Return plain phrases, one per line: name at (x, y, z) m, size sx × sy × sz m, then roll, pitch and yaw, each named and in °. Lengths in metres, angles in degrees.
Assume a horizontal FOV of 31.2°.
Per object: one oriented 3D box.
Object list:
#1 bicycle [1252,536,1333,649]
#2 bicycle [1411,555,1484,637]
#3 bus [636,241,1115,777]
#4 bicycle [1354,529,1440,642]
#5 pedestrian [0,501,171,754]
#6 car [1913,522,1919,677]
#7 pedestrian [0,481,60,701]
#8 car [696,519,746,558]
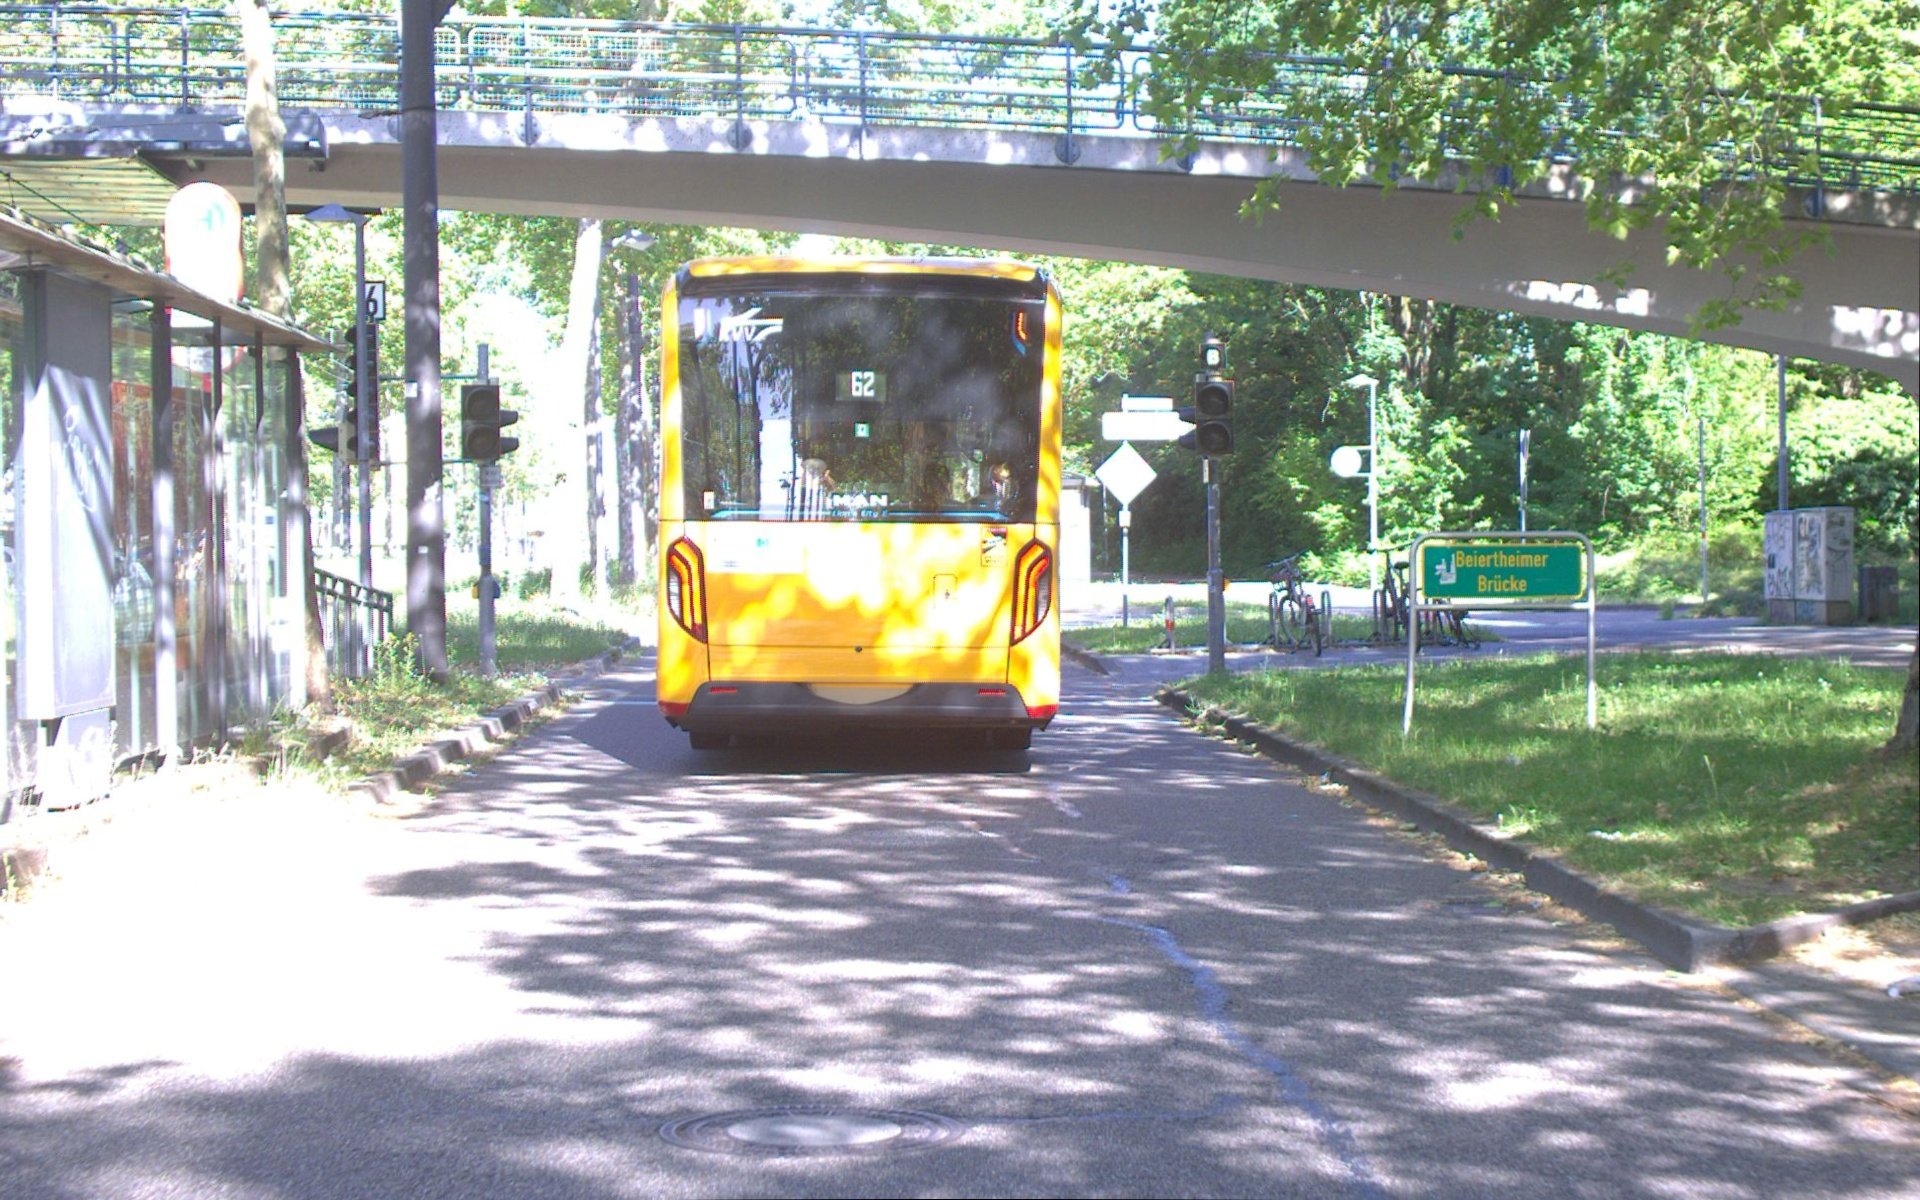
bicycle at (3.735, -0.098, 38.671) m, size 0.590 × 1.178 × 1.800 m, roll -4°, pitch 2°, yaw -2°
bicycle at (5.496, -0.056, 38.837) m, size 0.505 × 0.849 × 1.474 m, roll -4°, pitch 2°, yaw -2°
bus at (-0.790, -0.693, 27.120) m, size 2.899 × 3.255 × 12.220 m, roll 0°, pitch 1°, yaw -3°
bicycle at (4.905, -0.178, 38.646) m, size 0.590 × 1.178 × 1.800 m, roll -4°, pitch 2°, yaw -2°
pedestrian at (-4.508, 0.123, 17.333) m, size 0.855 × 1.238 × 0.850 m, roll 1°, pitch 1°, yaw 0°
car at (5.480, 0.333, 13.134) m, size 1.799 × 1.456 × 3.990 m, roll -2°, pitch 2°, yaw 44°
pedestrian at (-6.305, -0.067, 22.390) m, size 0.724 × 1.412 × 0.682 m, roll 0°, pitch 1°, yaw -2°
car at (-10.931, -2.839, 157.424) m, size 1.986 × 1.637 × 4.134 m, roll 2°, pitch 2°, yaw 0°
